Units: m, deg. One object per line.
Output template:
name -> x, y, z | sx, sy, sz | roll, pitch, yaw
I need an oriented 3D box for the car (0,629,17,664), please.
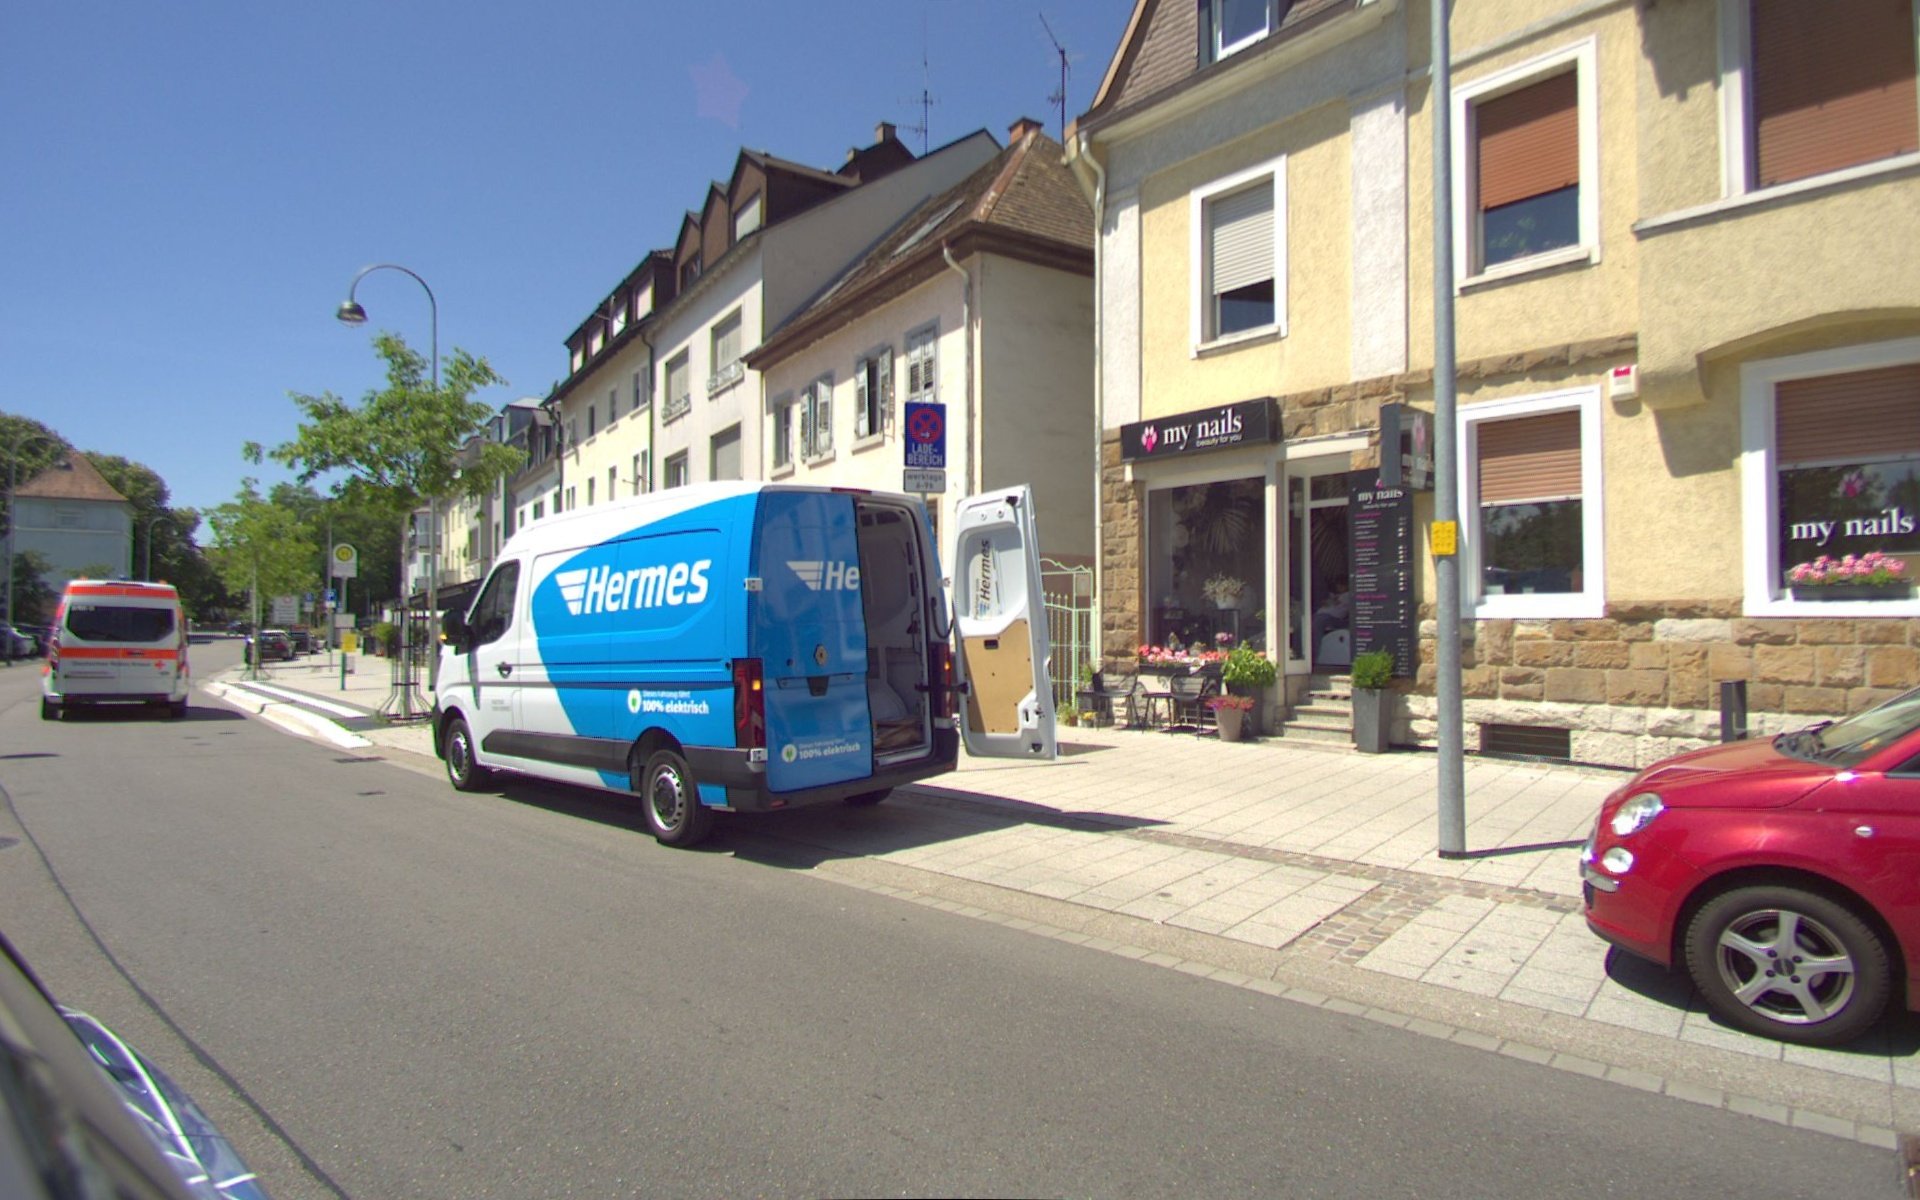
car -> -43.490, 1.954, 43.763 | 3.606, 1.456, 1.540 | 3, -3, -30

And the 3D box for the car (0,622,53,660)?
car -> -46.020, 1.936, 48.339 | 3.757, 1.800, 1.845 | 2, -2, -34

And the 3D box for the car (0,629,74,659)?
car -> -48.673, 2.288, 52.530 | 3.756, 1.473, 1.656 | 3, -3, -33

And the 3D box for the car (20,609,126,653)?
car -> -56.780, 2.003, 64.910 | 4.788, 2.757, 1.856 | 2, -2, -32

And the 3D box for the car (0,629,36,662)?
car -> -44.538, 2.042, 45.803 | 3.757, 1.494, 1.783 | 2, -2, -34

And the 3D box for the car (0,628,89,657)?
car -> -51.323, 2.356, 56.174 | 4.289, 1.563, 1.656 | 2, -3, -35

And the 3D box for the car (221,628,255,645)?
car -> -67.877, 3.407, 95.163 | 3.860, 1.465, 1.600 | 0, -3, 39

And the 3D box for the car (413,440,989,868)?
car -> -2.517, 0.365, 8.595 | 5.503, 2.517, 2.069 | -2, -1, 43

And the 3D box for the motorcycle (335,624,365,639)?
motorcycle -> -56.667, 2.915, 94.020 | 2.284, 1.335, 0.728 | 2, -2, -30

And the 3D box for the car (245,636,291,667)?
car -> -33.859, 2.491, 49.575 | 1.730, 1.456, 4.461 | 2, -3, -33

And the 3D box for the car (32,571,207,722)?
car -> -15.543, 0.852, 18.714 | 2.129, 2.380, 5.255 | 3, -4, -41

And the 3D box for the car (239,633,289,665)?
car -> -36.831, 2.551, 53.602 | 1.657, 1.495, 3.780 | -2, 0, -27

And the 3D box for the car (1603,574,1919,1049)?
car -> 4.270, 0.680, 3.299 | 3.512, 1.532, 1.544 | -1, -1, 40

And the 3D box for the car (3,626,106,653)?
car -> -54.138, 2.386, 60.636 | 4.310, 1.541, 1.724 | 2, -3, -32
